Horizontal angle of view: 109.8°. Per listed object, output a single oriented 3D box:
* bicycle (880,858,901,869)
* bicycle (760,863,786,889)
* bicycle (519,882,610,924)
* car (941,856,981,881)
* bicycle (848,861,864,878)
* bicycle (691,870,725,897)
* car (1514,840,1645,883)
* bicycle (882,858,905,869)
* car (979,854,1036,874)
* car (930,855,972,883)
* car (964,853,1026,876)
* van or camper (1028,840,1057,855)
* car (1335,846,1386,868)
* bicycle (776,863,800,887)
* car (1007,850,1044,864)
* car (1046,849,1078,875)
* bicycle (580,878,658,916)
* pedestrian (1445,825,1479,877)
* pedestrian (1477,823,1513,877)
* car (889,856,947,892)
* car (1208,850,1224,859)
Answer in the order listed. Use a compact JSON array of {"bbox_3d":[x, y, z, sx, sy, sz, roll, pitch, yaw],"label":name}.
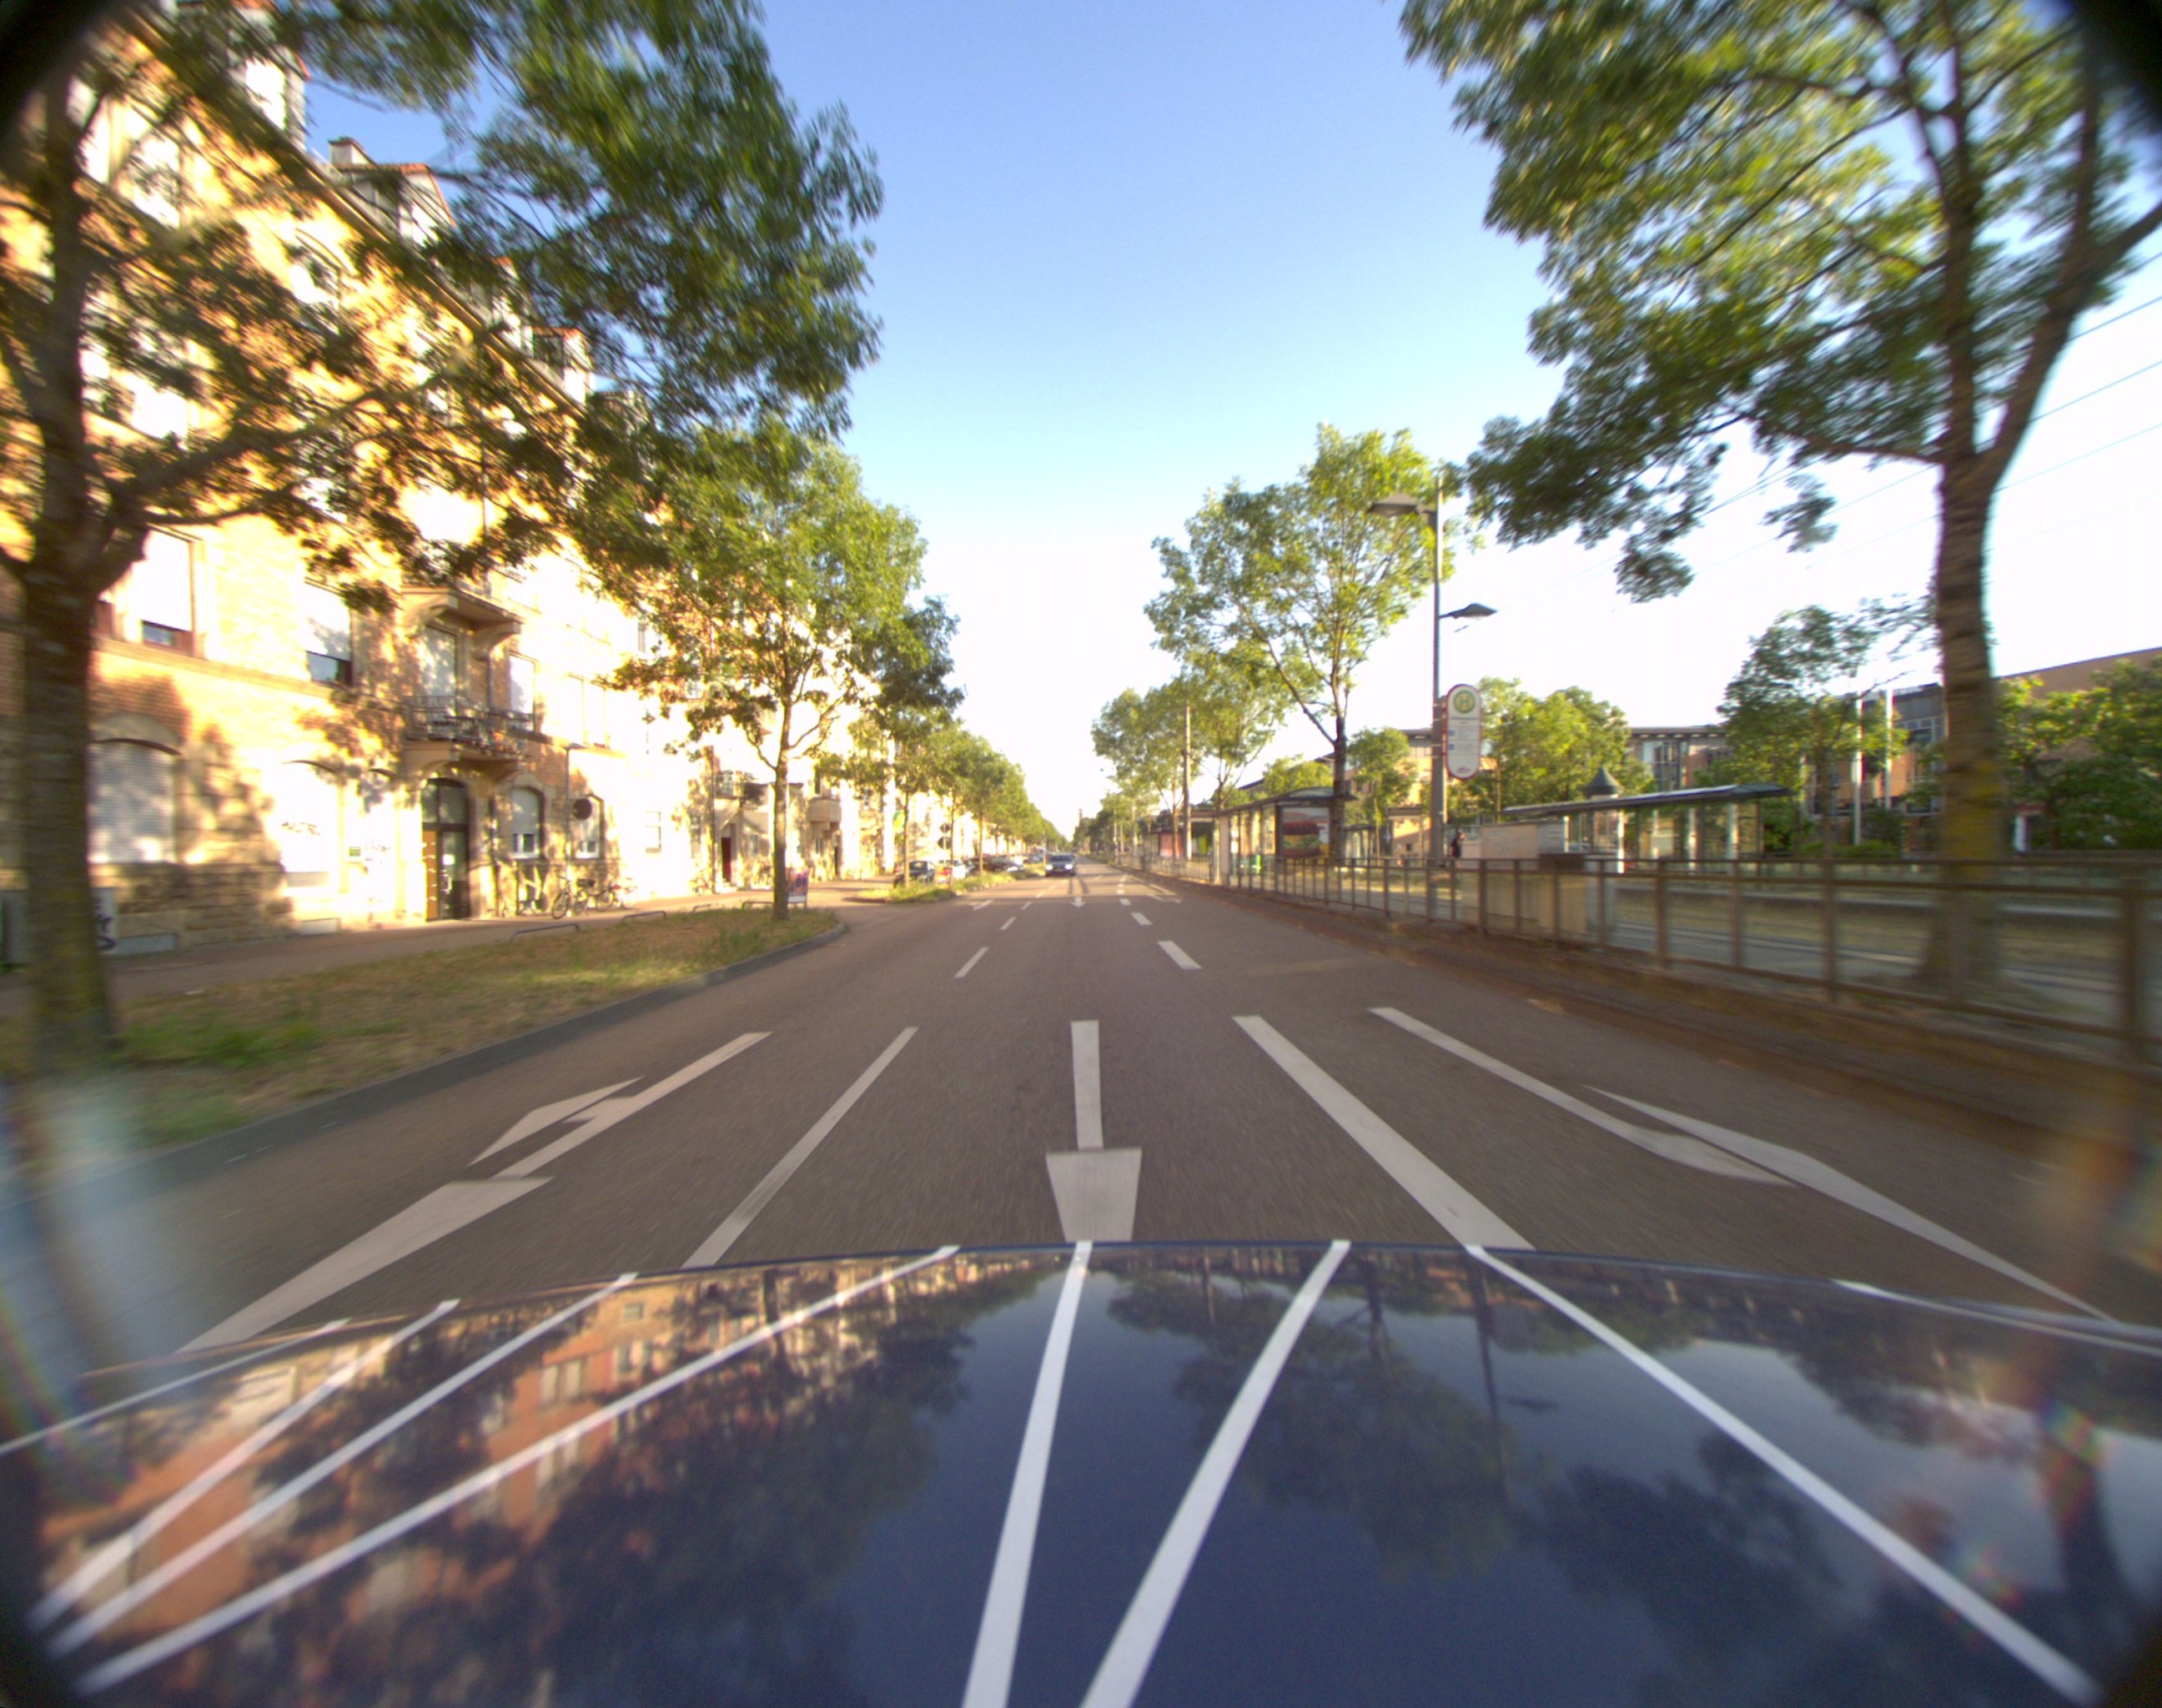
[{"bbox_3d":[-19.312,0.964,77.157,1.978,1.117,0.575,-1,1,-4],"label":"bicycle"},{"bbox_3d":[-14.992,1.042,36.998,0.484,1.158,1.746,4,1,0],"label":"bicycle"},{"bbox_3d":[-13.155,1.223,19.428,0.874,0.911,2.084,1,1,1],"label":"bicycle"},{"bbox_3d":[-8.002,0.921,51.062,1.950,1.436,4.907,-3,1,-1],"label":"car"},{"bbox_3d":[-15.210,1.053,51.418,0.573,1.067,1.896,0,1,-1],"label":"bicycle"},{"bbox_3d":[-14.877,1.159,30.380,0.484,0.999,1.746,-1,1,0],"label":"bicycle"},{"bbox_3d":[19.385,0.259,29.870,1.998,1.543,4.893,-1,0,1],"label":"car"},{"bbox_3d":[-19.191,0.946,77.807,2.211,1.099,0.538,-1,1,-4],"label":"bicycle"},{"bbox_3d":[-5.882,0.797,60.828,4.276,1.513,1.850,-1,1,32],"label":"car"},{"bbox_3d":[-7.747,0.851,45.531,1.730,1.503,4.271,-4,0,-1],"label":"car"},{"bbox_3d":[-6.630,0.797,58.411,4.330,1.562,2.005,-3,0,32],"label":"car"},{"bbox_3d":[-7.779,-1.301,154.014,5.636,2.796,2.208,-1,1,31],"label":"van or camper"},{"bbox_3d":[19.375,0.194,52.878,1.799,1.407,4.340,-2,1,-1],"label":"car"},{"bbox_3d":[-15.002,1.075,38.901,0.484,1.158,1.746,4,1,0],"label":"bicycle"},{"bbox_3d":[-7.041,0.332,95.773,4.420,1.681,1.920,-1,1,35],"label":"car"},{"bbox_3d":[-1.304,0.497,50.282,1.999,1.655,3.998,-1,1,-3],"label":"car"},{"bbox_3d":[-13.311,1.216,21.983,0.735,0.942,2.340,0,1,3],"label":"bicycle"},{"bbox_3d":[14.922,-0.116,29.794,0.771,2.002,1.127,-1,1,2],"label":"pedestrian"},{"bbox_3d":[15.803,-0.141,29.037,0.771,2.002,1.127,-1,1,2],"label":"pedestrian"},{"bbox_3d":[-7.665,0.899,36.068,1.708,1.440,4.288,-4,0,0],"label":"car"},{"bbox_3d":[18.575,0.068,104.695,1.544,1.290,3.689,-1,0,-1],"label":"car"}]
